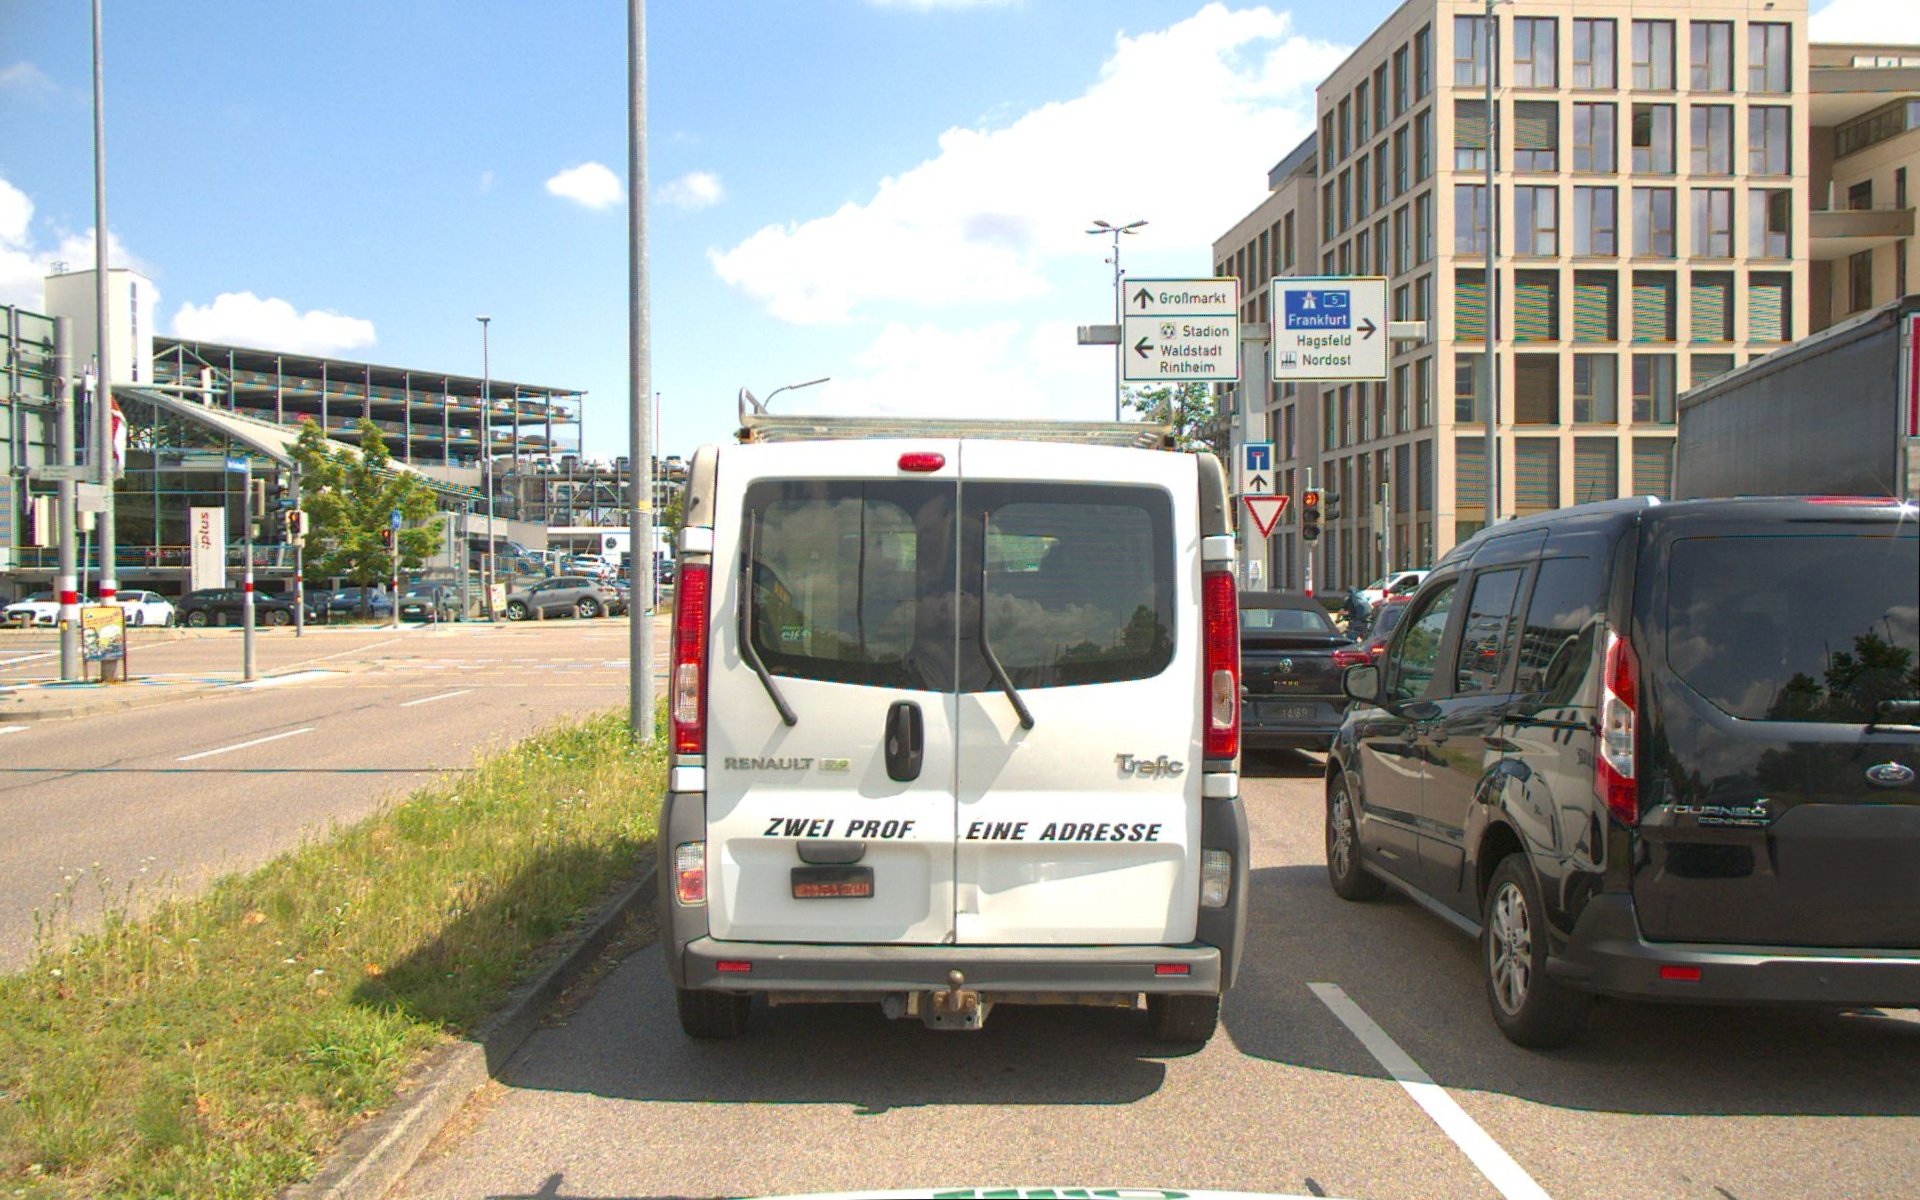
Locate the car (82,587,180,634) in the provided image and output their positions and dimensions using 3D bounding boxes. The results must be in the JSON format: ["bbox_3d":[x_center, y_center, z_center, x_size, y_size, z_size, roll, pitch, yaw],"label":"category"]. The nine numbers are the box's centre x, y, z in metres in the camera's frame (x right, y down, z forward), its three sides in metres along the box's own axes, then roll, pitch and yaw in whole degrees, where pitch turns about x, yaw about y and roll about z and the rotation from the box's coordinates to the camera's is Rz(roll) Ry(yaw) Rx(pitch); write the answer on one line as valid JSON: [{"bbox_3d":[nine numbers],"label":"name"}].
[{"bbox_3d":[-29.397,0.391,58.797,1.755,1.490,3.995,-1,-2,-5],"label":"car"}]

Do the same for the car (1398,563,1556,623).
[{"bbox_3d":[15.352,-0.201,49.226,4.119,1.655,1.825,1,0,-8],"label":"car"}]

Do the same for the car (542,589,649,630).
[{"bbox_3d":[-16.553,0.405,75.304,4.484,1.707,1.906,-1,2,-4],"label":"car"}]

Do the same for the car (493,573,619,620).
[{"bbox_3d":[-15.707,-0.129,64.466,4.484,1.707,1.906,1,0,-4],"label":"car"}]

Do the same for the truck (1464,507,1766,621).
[{"bbox_3d":[22.402,-1.179,56.694,9.568,3.617,2.670,1,0,-8],"label":"truck"}]

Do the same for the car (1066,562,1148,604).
[{"bbox_3d":[7.617,-0.863,85.891,3.913,2.049,1.996,1,0,-9],"label":"car"}]

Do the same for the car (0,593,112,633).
[{"bbox_3d":[-31.944,0.457,58.504,1.864,1.320,4.585,1,0,-5],"label":"car"}]

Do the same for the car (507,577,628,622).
[{"bbox_3d":[-15.875,-0.012,67.104,4.484,1.707,1.906,1,0,-4],"label":"car"}]

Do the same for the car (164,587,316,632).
[{"bbox_3d":[-25.896,0.351,59.600,4.649,1.490,1.793,-1,-3,-6],"label":"car"}]

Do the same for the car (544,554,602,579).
[{"bbox_3d":[-27.062,-2.325,115.706,3.917,1.579,1.759,1,0,-13],"label":"car"}]

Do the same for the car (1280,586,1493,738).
[{"bbox_3d":[5.260,0.799,20.909,1.820,1.685,4.220,1,-3,3],"label":"car"}]

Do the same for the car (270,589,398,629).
[{"bbox_3d":[-26.112,0.388,69.125,4.649,1.537,1.982,-1,-3,-6],"label":"car"}]

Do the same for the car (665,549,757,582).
[{"bbox_3d":[-17.392,-2.404,115.713,6.264,2.139,1.763,1,0,-6],"label":"car"}]

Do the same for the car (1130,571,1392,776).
[{"bbox_3d":[2.654,0.585,15.458,1.737,1.658,4.000,0,0,0],"label":"car"}]

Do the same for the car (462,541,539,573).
[{"bbox_3d":[-28.655,-2.689,103.157,4.356,1.833,1.762,1,0,-7],"label":"car"}]

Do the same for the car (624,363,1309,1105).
[{"bbox_3d":[-0.010,0.371,6.979,1.933,2.096,4.564,0,0,-1],"label":"car"}]

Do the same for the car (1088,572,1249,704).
[{"bbox_3d":[2.777,0.470,22.830,1.737,1.658,4.000,0,0,0],"label":"car"}]

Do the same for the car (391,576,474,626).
[{"bbox_3d":[-19.025,0.043,59.798,1.864,1.707,4.585,1,0,-5],"label":"car"}]

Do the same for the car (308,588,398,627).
[{"bbox_3d":[-21.726,0.270,59.379,1.864,1.320,4.585,1,0,-5],"label":"car"}]

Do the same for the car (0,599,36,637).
[{"bbox_3d":[-34.533,0.633,58.134,1.864,1.320,4.585,1,0,-5],"label":"car"}]

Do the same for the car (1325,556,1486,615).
[{"bbox_3d":[15.084,-0.482,56.081,4.883,1.870,1.996,1,0,-8],"label":"car"}]

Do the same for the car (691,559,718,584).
[{"bbox_3d":[-16.687,-1.864,108.307,1.531,1.579,3.598,1,0,-6],"label":"car"}]

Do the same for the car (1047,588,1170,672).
[{"bbox_3d":[2.760,0.541,31.526,1.817,1.467,3.998,1,0,-2],"label":"car"}]

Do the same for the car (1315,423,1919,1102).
[{"bbox_3d":[2.762,0.456,6.737,1.786,1.938,4.000,0,0,0],"label":"car"}]

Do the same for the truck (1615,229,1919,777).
[{"bbox_3d":[9.288,-0.673,16.592,3.143,4.098,9.078,1,0,9],"label":"truck"}]

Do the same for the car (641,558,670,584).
[{"bbox_3d":[-19.995,-1.892,108.703,1.531,1.579,3.598,1,0,-6],"label":"car"}]
